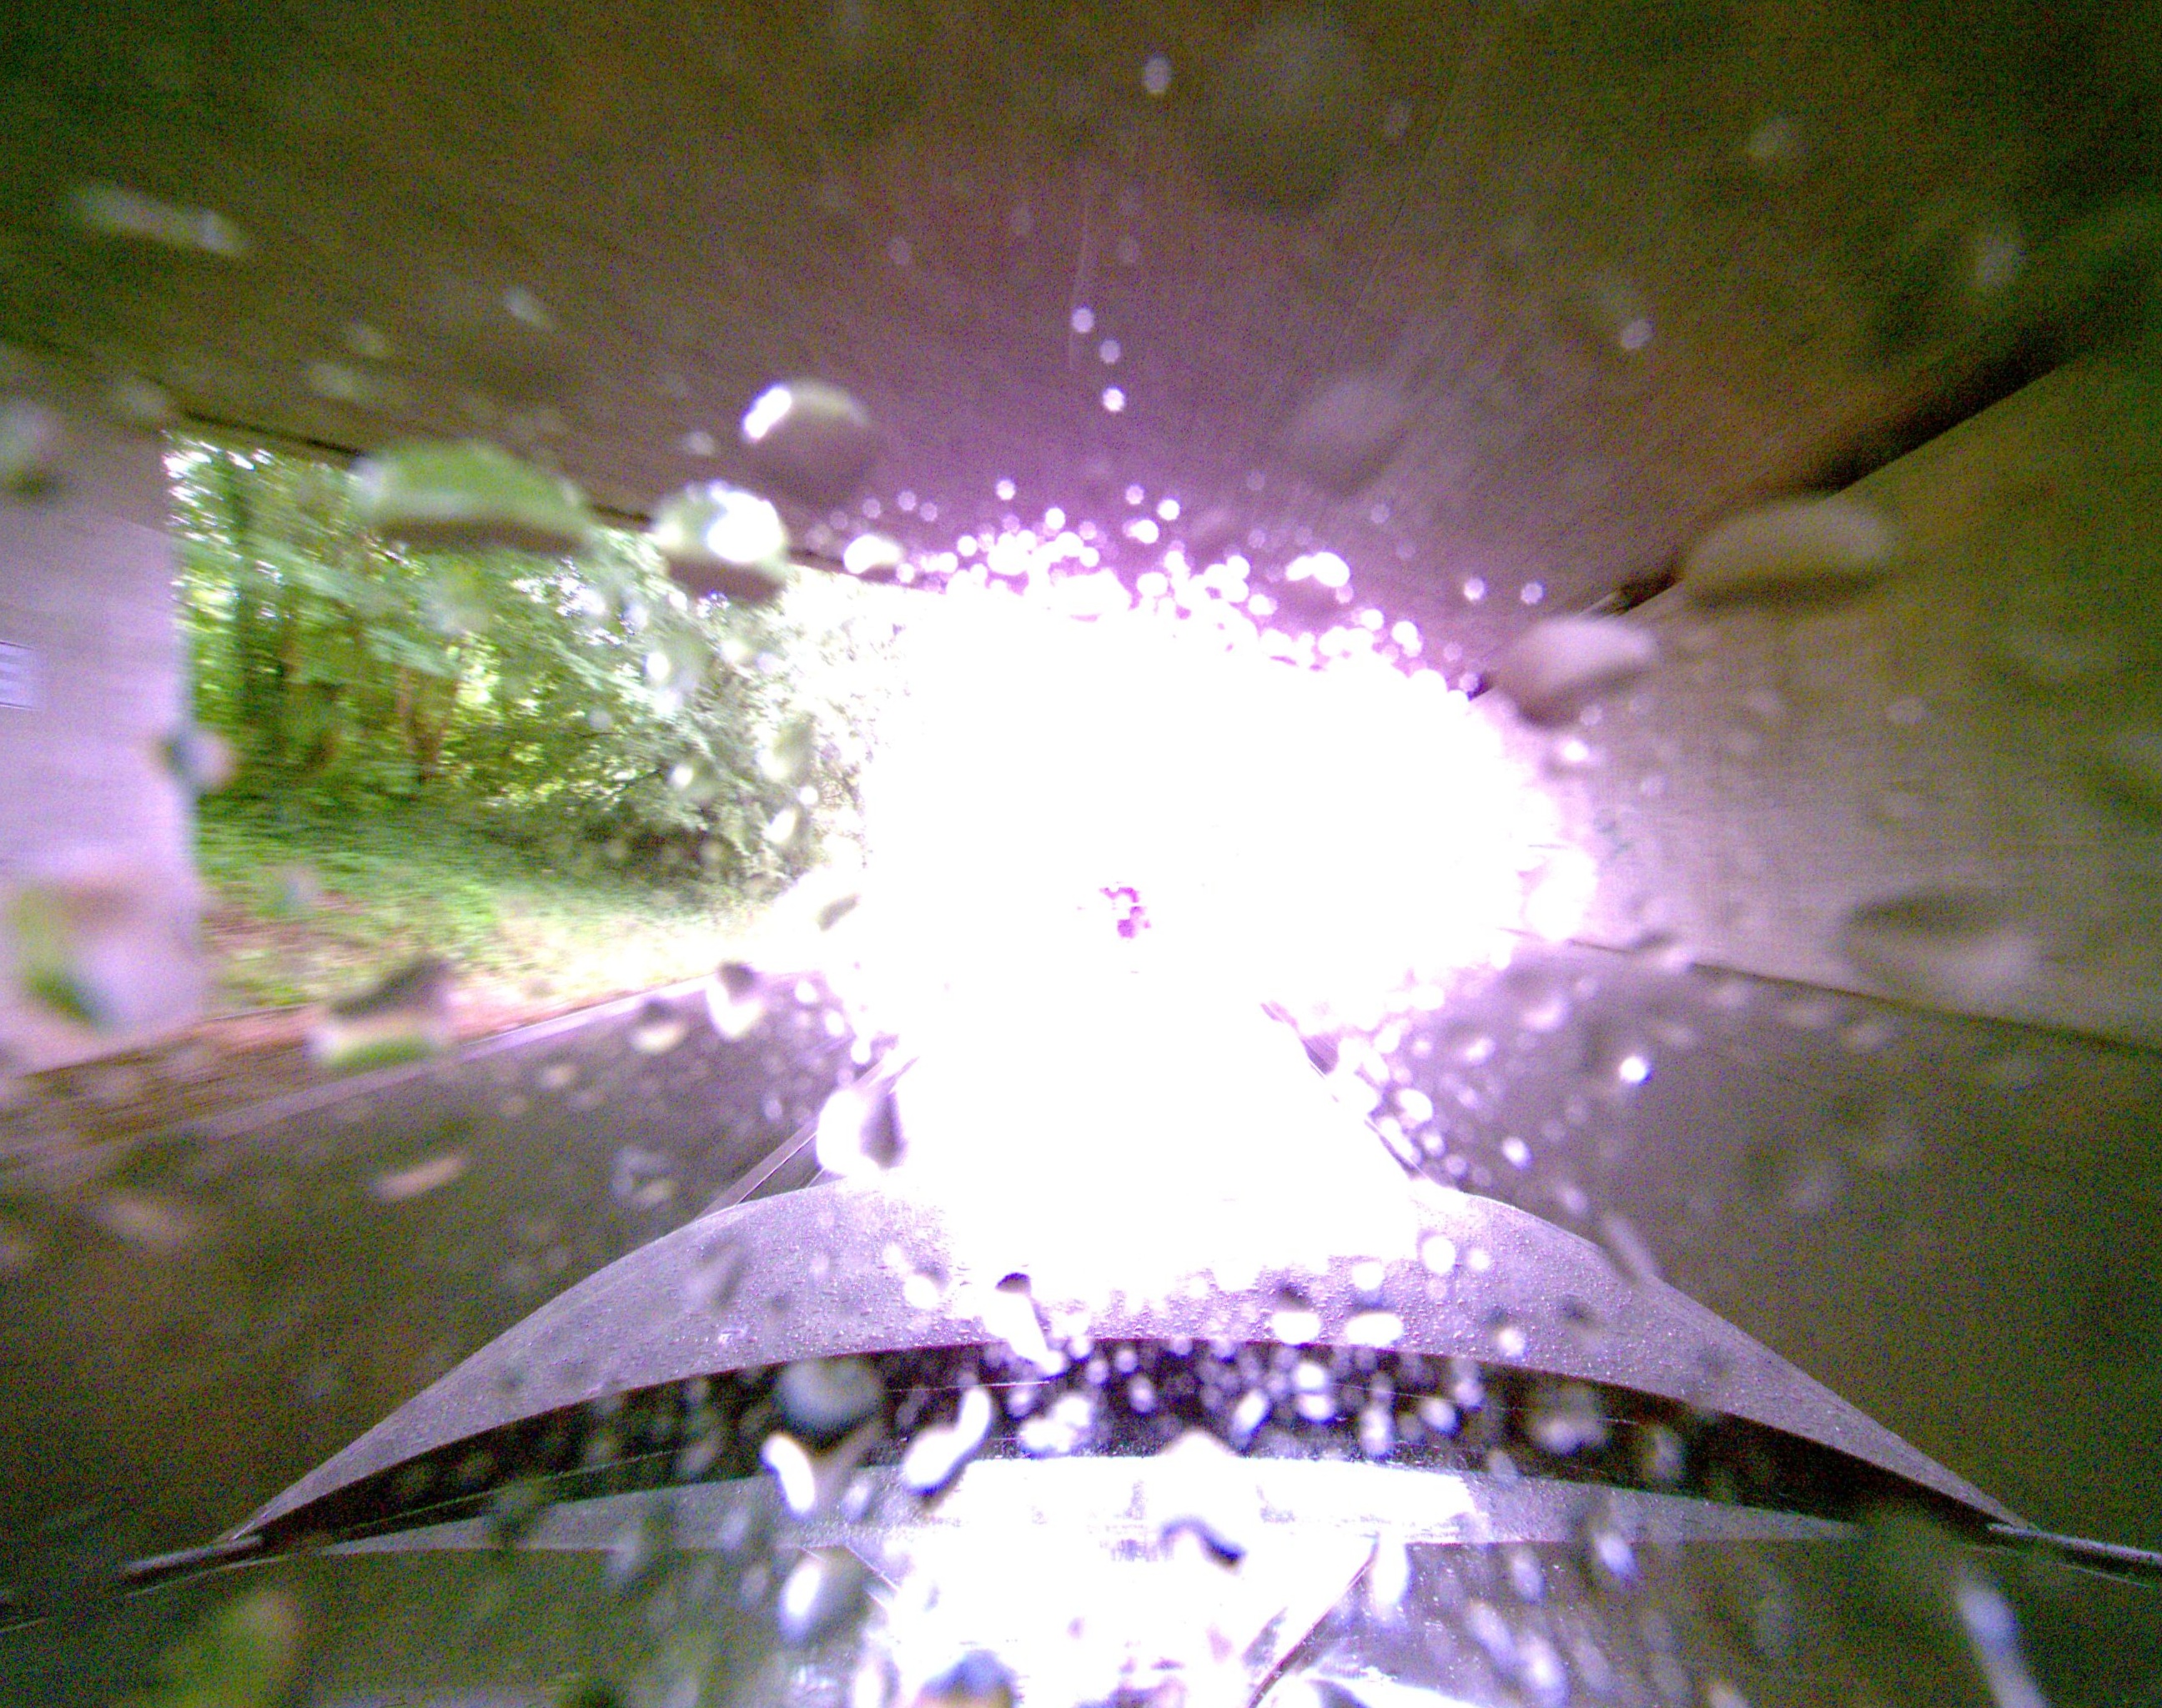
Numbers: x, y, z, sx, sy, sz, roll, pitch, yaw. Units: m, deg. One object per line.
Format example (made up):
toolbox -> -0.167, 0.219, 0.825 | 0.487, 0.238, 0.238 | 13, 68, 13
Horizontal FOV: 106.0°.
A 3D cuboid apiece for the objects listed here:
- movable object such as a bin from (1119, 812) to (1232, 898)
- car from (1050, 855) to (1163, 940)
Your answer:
movable object such as a bin -> 3.522, 0.052, 28.874 | 2.226, 2.669, 6.662 | 0, 0, 22
car -> 0.399, 0.775, 16.334 | 1.988, 1.487, 3.997 | 0, 0, -2
